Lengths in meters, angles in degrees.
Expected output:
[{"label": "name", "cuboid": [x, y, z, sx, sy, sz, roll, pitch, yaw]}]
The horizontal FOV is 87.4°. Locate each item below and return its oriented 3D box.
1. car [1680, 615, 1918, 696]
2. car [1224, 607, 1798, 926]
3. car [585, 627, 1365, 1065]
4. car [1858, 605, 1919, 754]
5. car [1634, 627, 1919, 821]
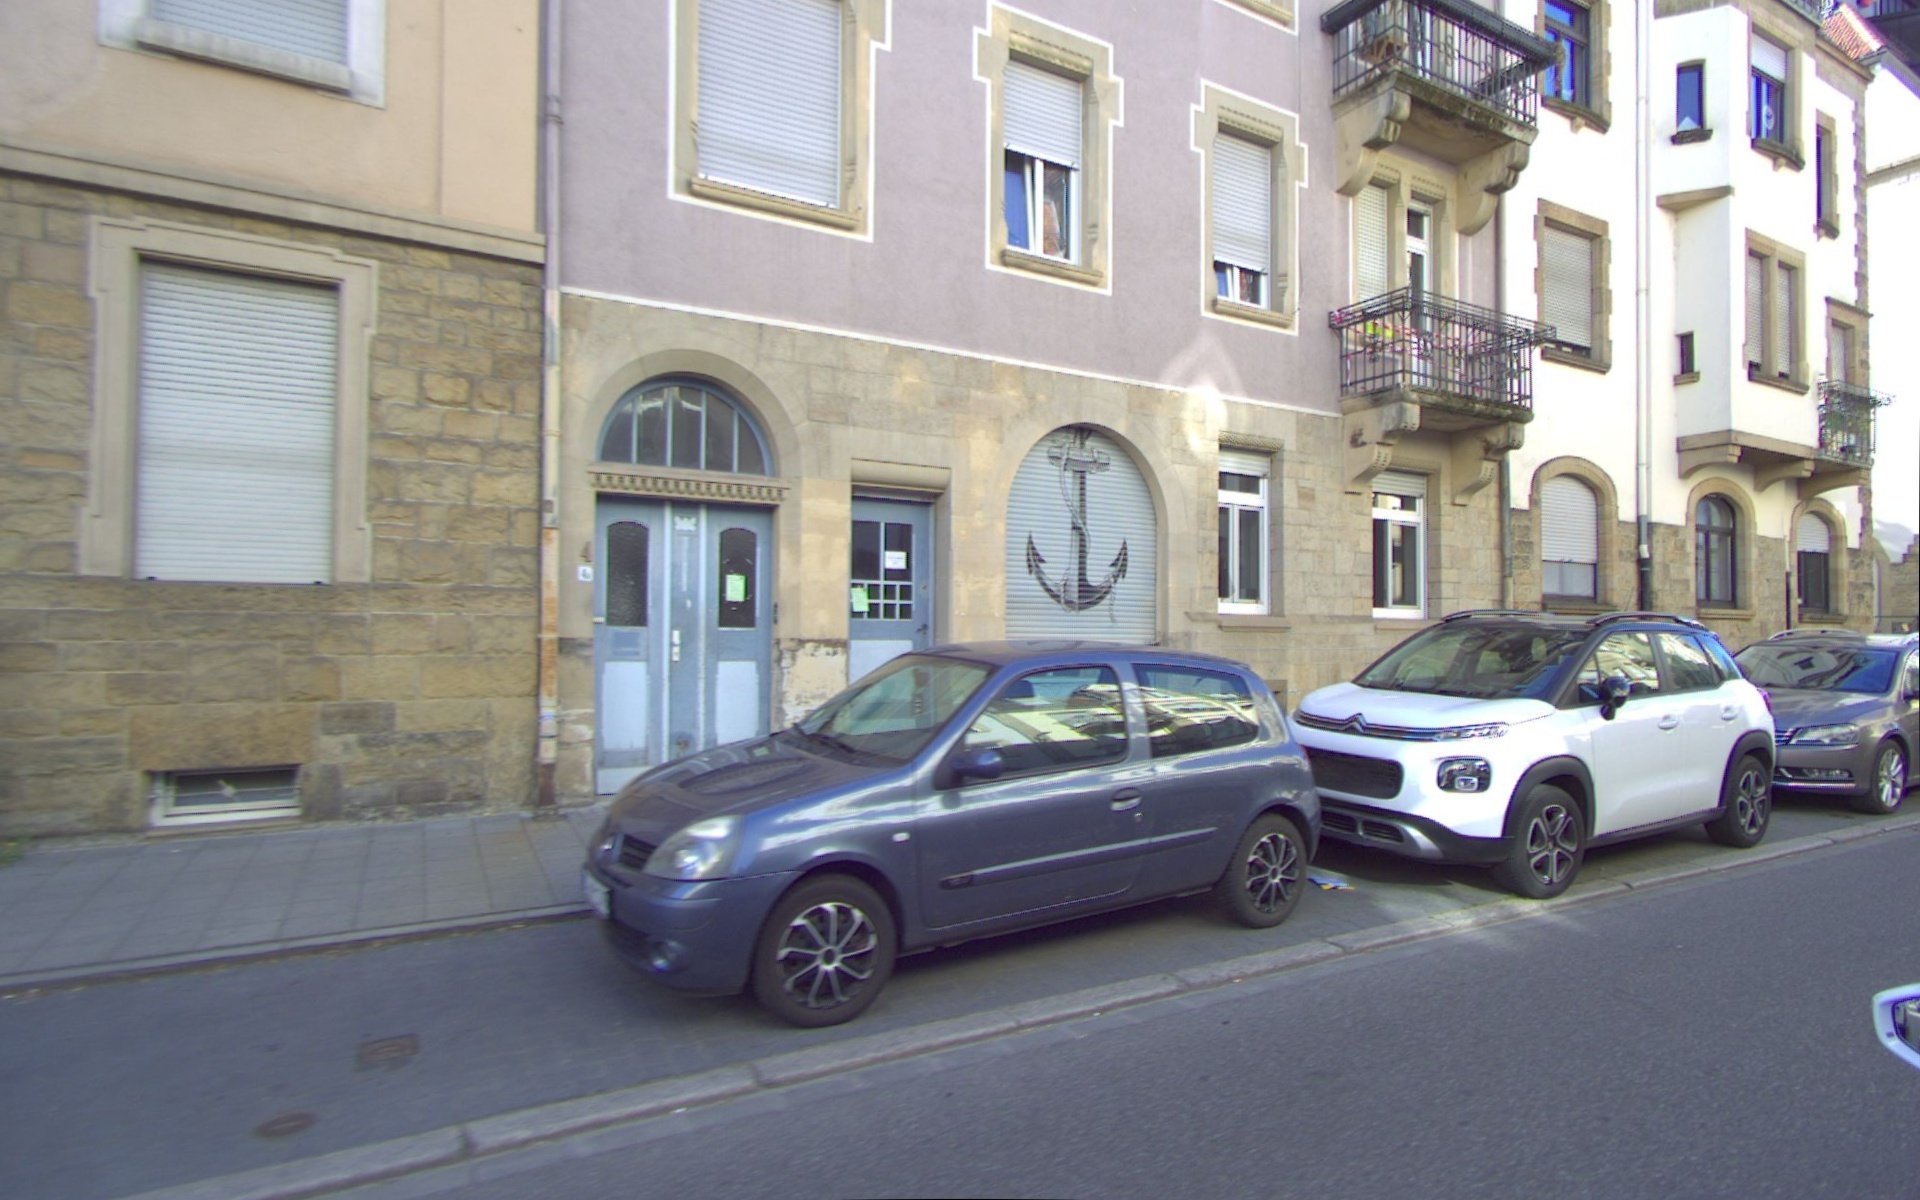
[{"label": "car", "cuboid": [19.903, 1.283, 24.021, 1.886, 1.750, 3.952, 1, -2, -29]}, {"label": "car", "cuboid": [3.916, 0.901, 6.996, 3.974, 1.604, 1.706, 1, 1, -31]}, {"label": "car", "cuboid": [0.156, 0.889, 5.094, 3.624, 1.412, 1.663, 1, 1, -31]}, {"label": "car", "cuboid": [13.507, 0.997, 12.597, 4.667, 1.745, 1.884, 1, 0, -29]}, {"label": "car", "cuboid": [8.522, 1.038, 9.702, 4.227, 1.507, 1.567, 1, 0, -29]}]
